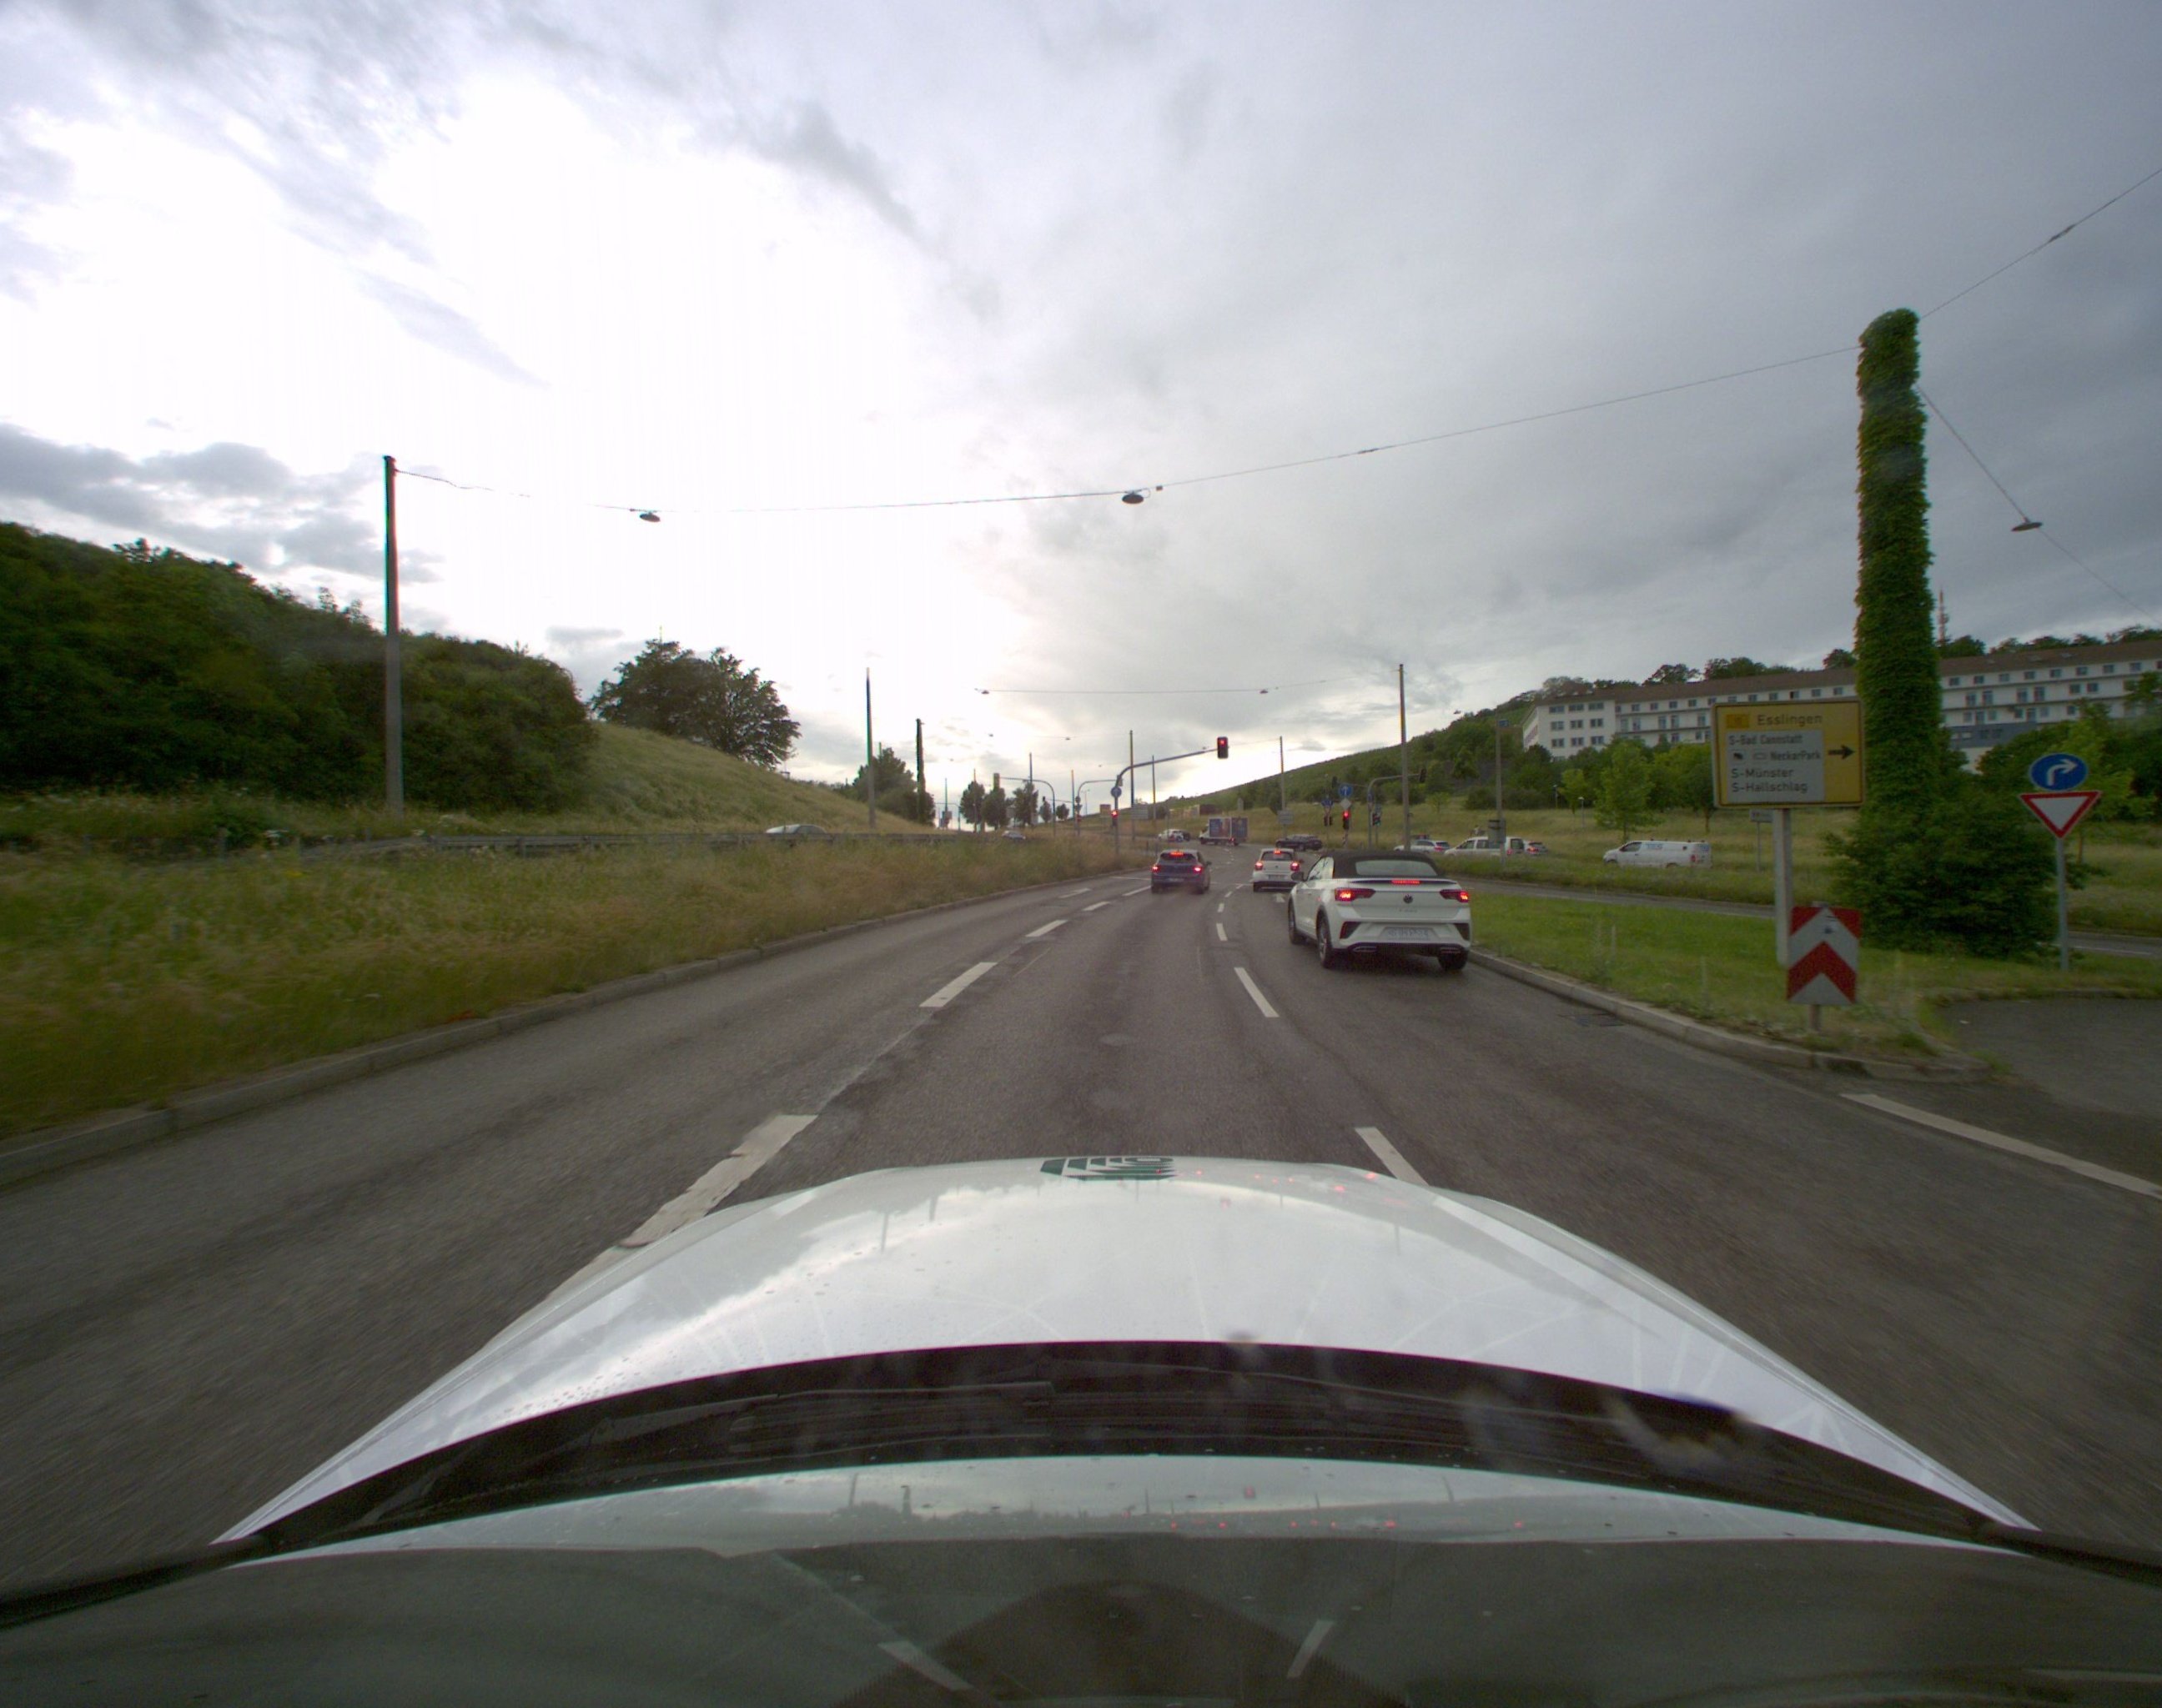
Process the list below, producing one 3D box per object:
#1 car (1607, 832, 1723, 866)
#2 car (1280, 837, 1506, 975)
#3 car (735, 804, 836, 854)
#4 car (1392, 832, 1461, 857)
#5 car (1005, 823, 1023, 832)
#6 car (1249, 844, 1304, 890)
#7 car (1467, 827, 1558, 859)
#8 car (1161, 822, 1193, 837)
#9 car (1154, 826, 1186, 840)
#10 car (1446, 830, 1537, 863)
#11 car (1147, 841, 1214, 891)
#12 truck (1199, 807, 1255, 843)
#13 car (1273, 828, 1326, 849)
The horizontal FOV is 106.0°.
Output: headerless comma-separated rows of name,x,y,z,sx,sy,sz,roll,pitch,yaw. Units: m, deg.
car,32.351,-0.328,45.293,2.004,1.693,4.855,-1,3,-26
car,4.185,0.586,11.699,1.986,1.578,4.132,1,1,5
car,-10.972,-0.902,30.516,1.701,1.656,4.012,3,1,10
car,25.618,-0.740,60.536,2.004,1.605,4.526,-1,3,-26
car,-12.961,-5.093,157.265,2.003,1.711,4.527,-3,2,-24
car,7.168,0.414,29.692,1.761,1.519,3.741,1,1,16
car,26.443,-0.708,50.026,2.006,1.711,4.624,-3,4,-29
car,11.930,-3.060,101.677,2.003,1.711,4.528,-3,4,-24
car,10.611,-2.533,97.080,2.001,1.500,4.533,-3,4,-20
car,24.261,-0.518,48.287,2.006,1.711,4.522,-3,4,-29
car,3.538,0.395,28.257,1.913,1.599,4.075,-1,0,12
truck,15.319,-3.112,85.923,2.860,3.526,6.190,-3,4,-22
car,19.840,-1.445,74.097,2.008,1.711,4.516,-4,4,-34
